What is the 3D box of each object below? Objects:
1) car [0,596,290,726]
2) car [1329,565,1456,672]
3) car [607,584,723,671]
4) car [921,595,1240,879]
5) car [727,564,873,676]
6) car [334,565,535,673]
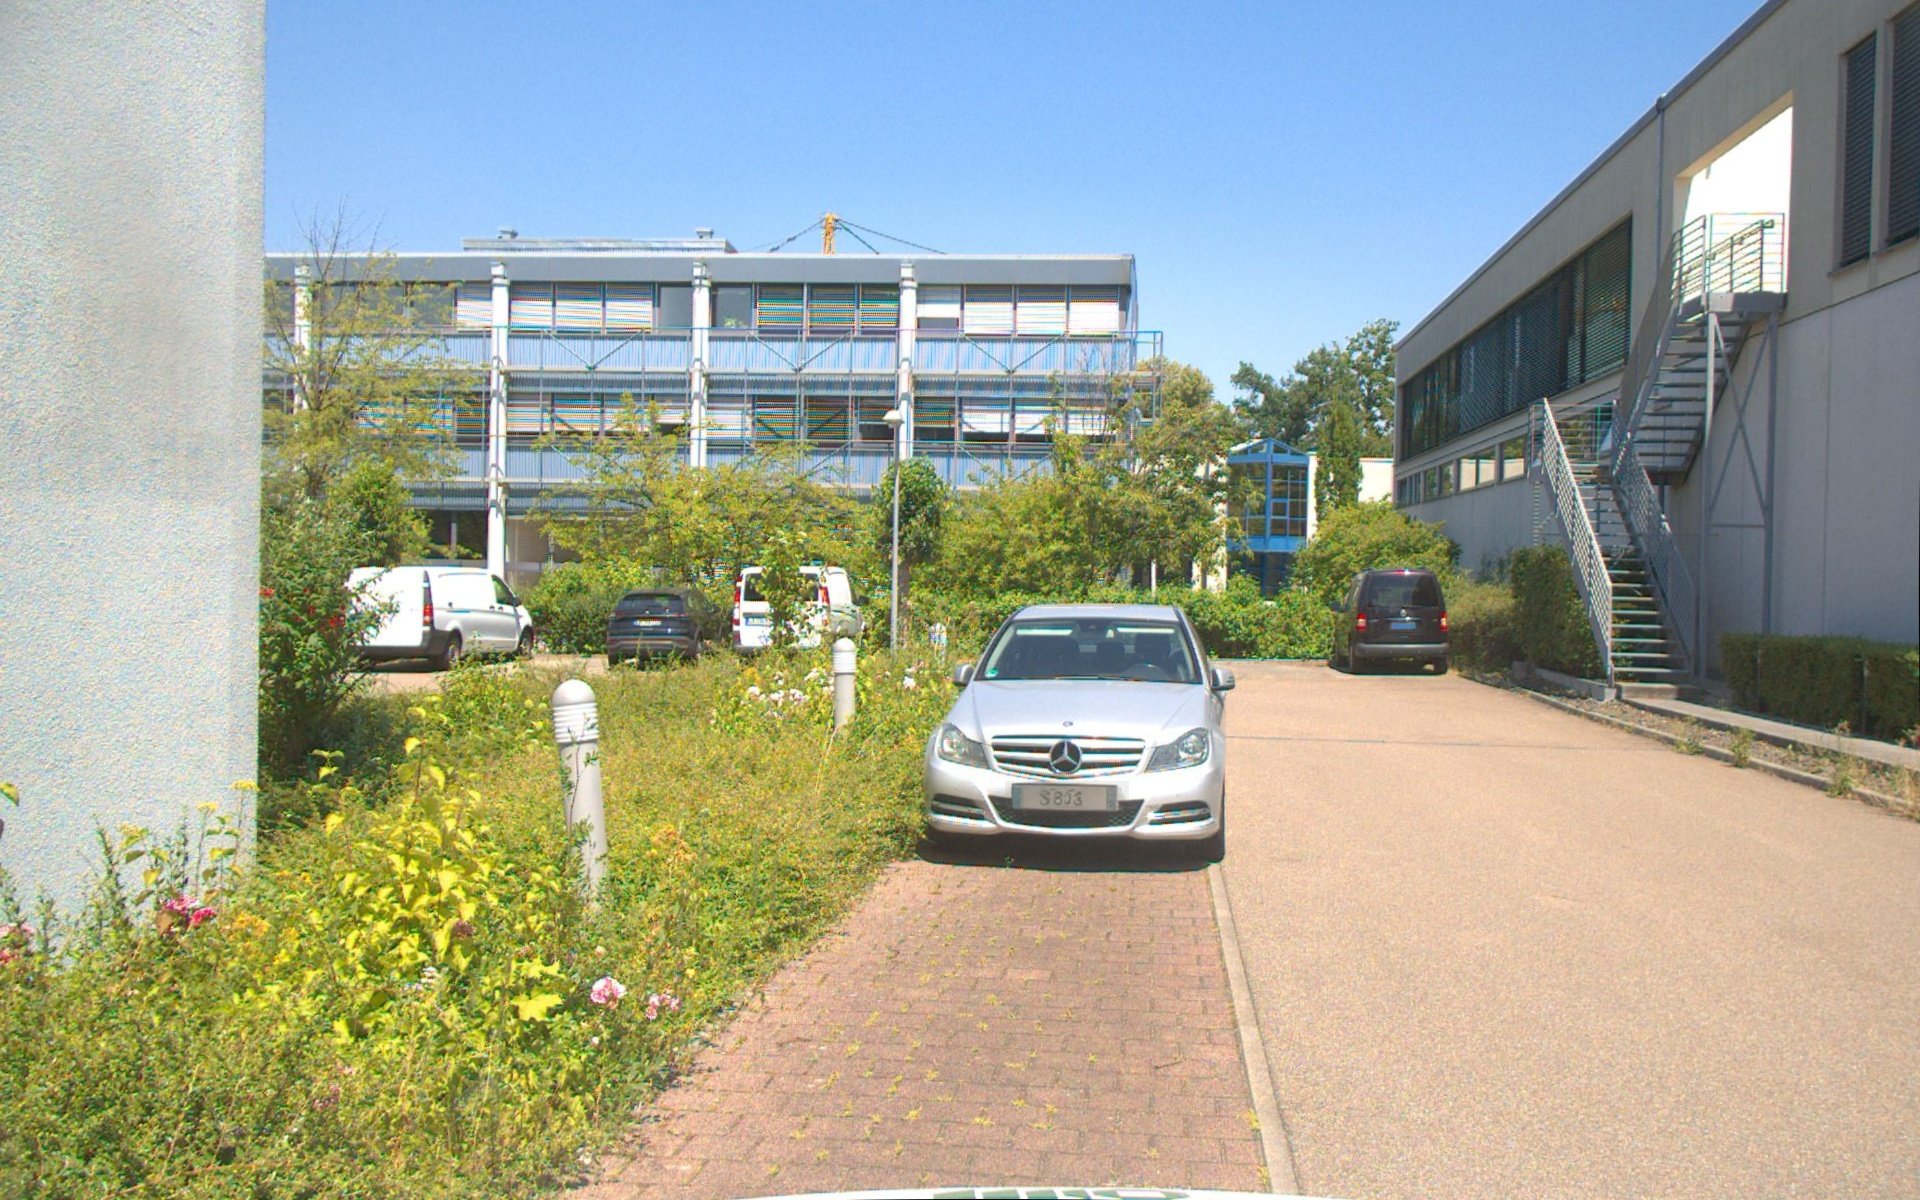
[{"bbox_3d":[-10.965,0.725,22.117,1.818,1.498,4.487,0,1,6],"label":"car"},{"bbox_3d":[8.009,0.302,30.946,1.706,1.869,4.003,0,1,6],"label":"car"},{"bbox_3d":[-5.650,0.478,32.104,1.719,1.502,3.998,0,1,-3],"label":"car"},{"bbox_3d":[0.953,0.715,10.832,1.692,1.482,4.151,0,0,9],"label":"car"},{"bbox_3d":[-2.918,0.293,31.186,1.872,1.938,4.811,0,1,5],"label":"car"},{"bbox_3d":[-10.044,0.284,32.053,1.841,1.924,4.808,0,1,8],"label":"car"}]
